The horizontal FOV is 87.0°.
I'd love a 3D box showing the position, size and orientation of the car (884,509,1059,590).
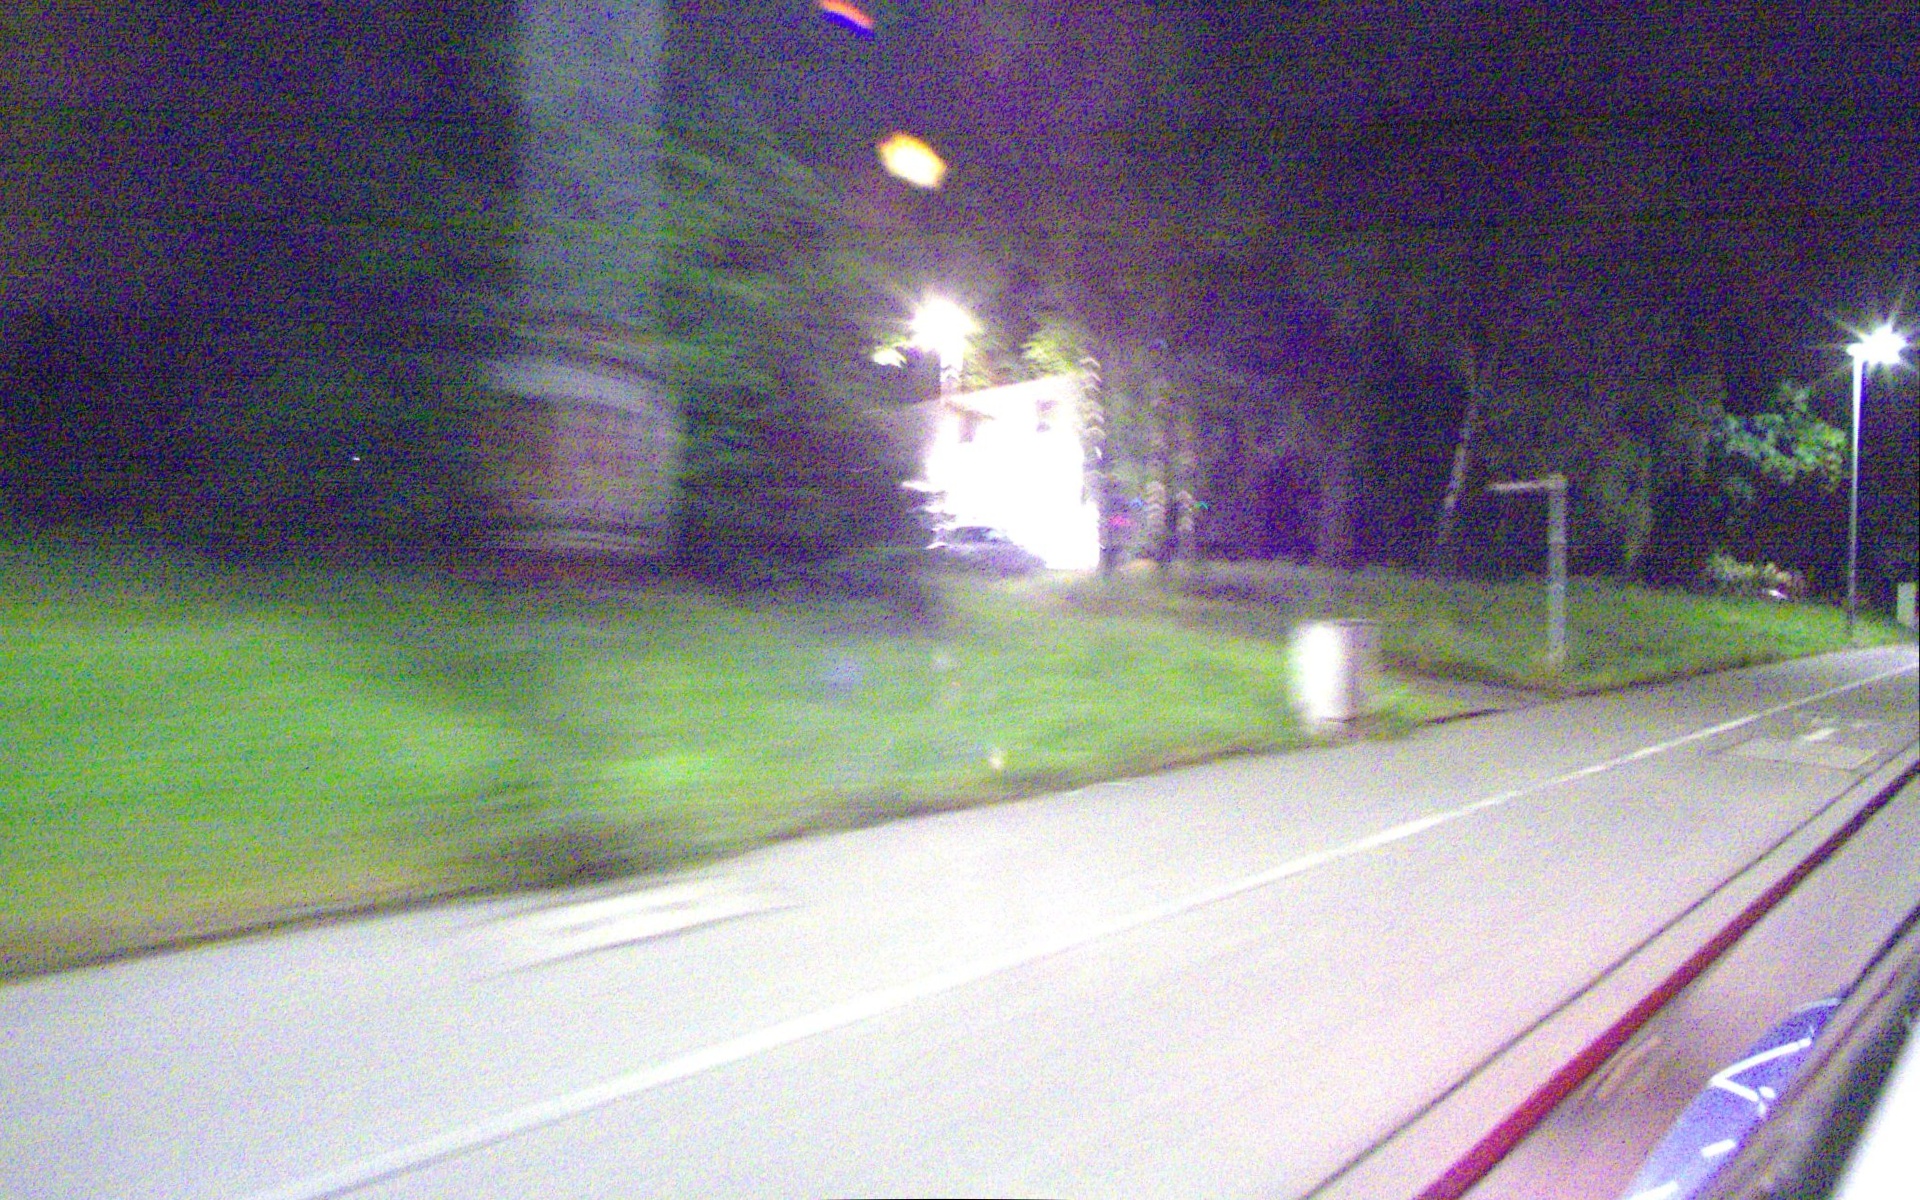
[{"bbox_3d":[0.324,-1.244,25.520,4.039,1.860,1.957,0,3,-39],"label":"car"}]
